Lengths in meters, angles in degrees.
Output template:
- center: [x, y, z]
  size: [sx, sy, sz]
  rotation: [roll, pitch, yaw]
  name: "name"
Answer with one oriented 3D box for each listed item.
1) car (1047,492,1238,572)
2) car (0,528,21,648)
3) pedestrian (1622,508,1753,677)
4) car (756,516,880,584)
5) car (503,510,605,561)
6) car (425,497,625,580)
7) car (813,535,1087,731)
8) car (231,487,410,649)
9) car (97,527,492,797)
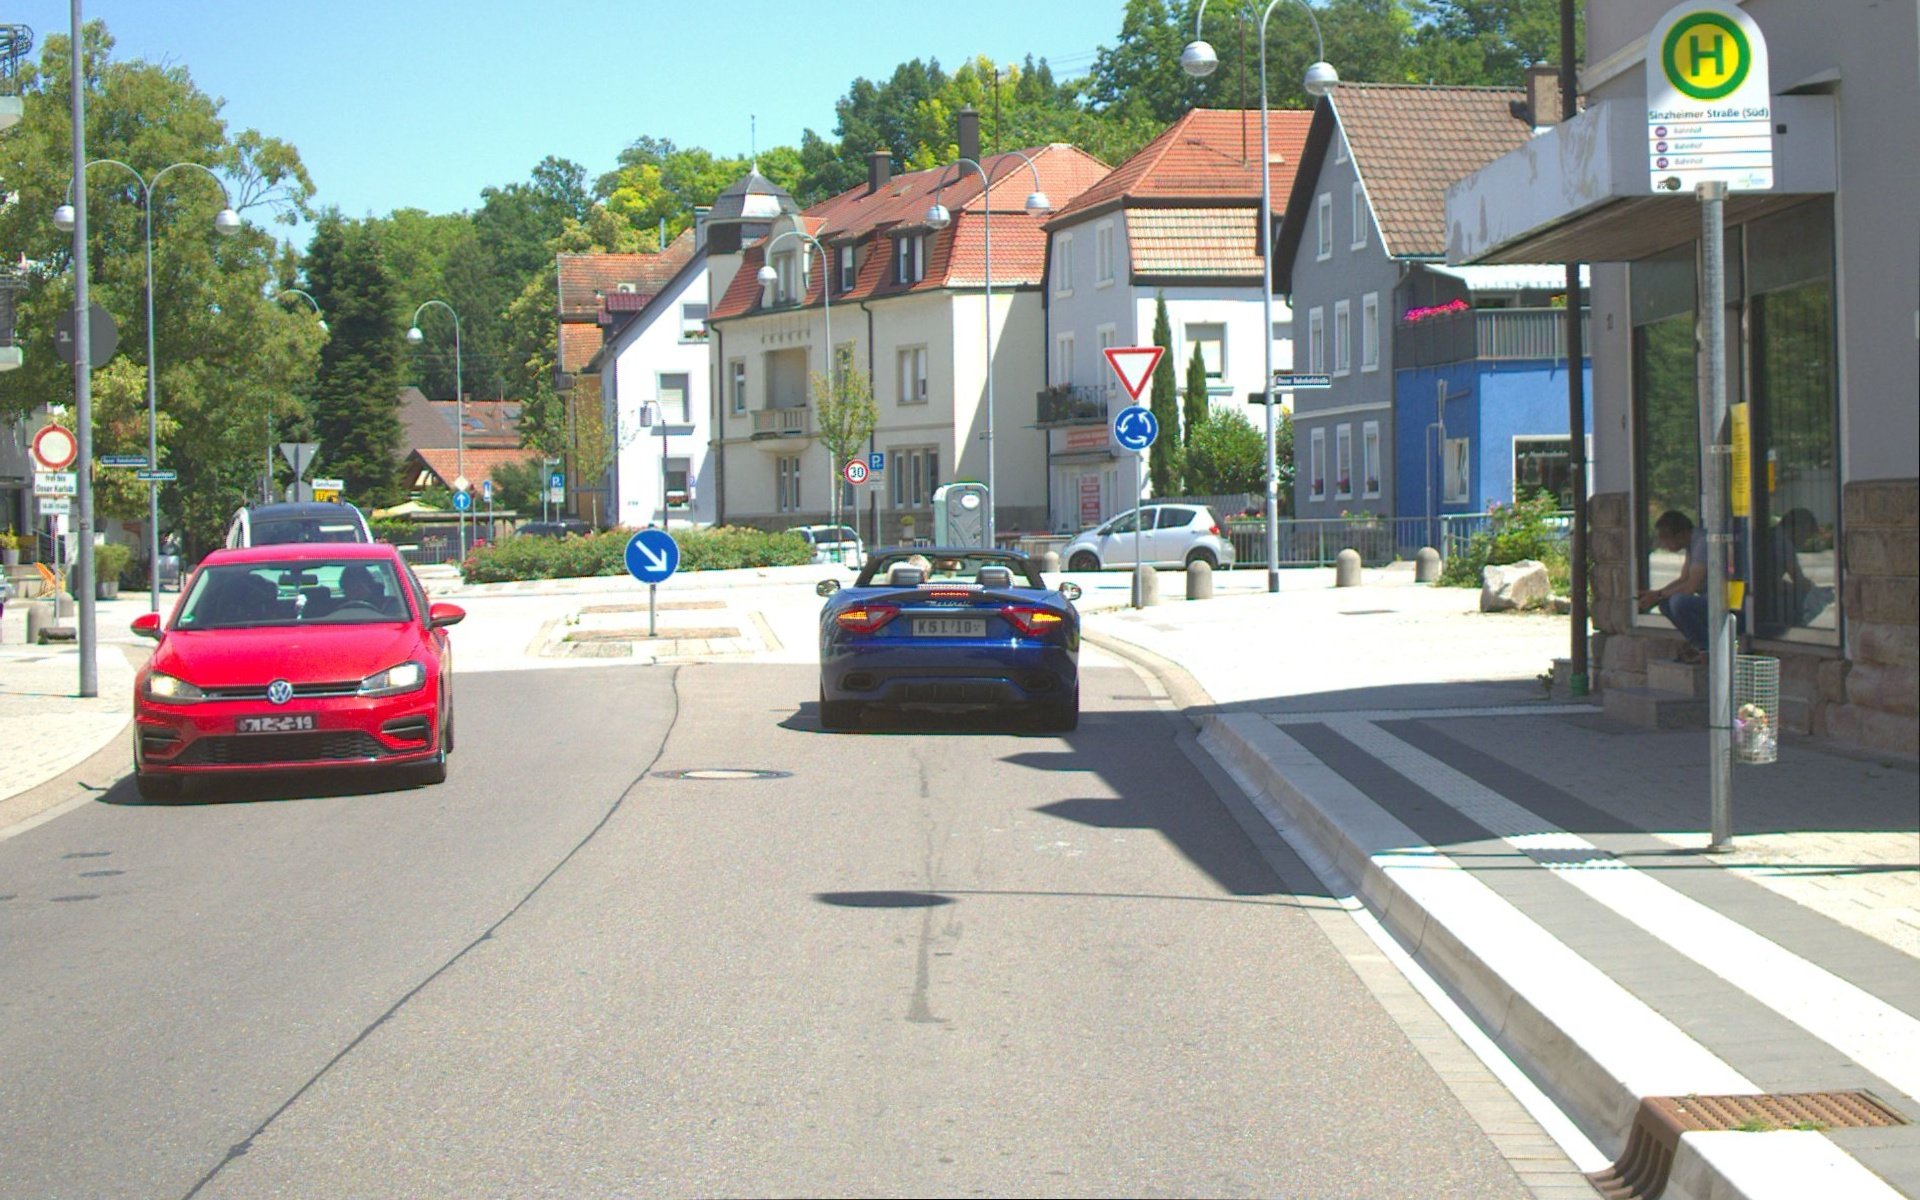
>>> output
- center: [3.597, -1.344, 67.581]
  size: [3.461, 1.445, 1.579]
  rotation: [-2, 1, 15]
  name: "car"
- center: [-17.157, -0.174, 54.103]
  size: [4.219, 1.868, 1.762]
  rotation: [0, 2, 12]
  name: "car"
- center: [4.469, -0.055, 21.152]
  size: [0.590, 0.996, 0.724]
  rotation: [-2, 1, -2]
  name: "pedestrian"
- center: [-3.677, -1.275, 88.346]
  size: [1.918, 1.607, 4.149]
  rotation: [-2, 0, -21]
  name: "car"
- center: [-13.658, -2.156, 115.544]
  size: [1.850, 1.582, 4.000]
  rotation: [-3, 2, -31]
  name: "car"
- center: [-7.541, -1.044, 59.253]
  size: [1.993, 1.325, 4.201]
  rotation: [-3, 2, -28]
  name: "car"
- center: [-0.069, 0.190, 26.110]
  size: [1.910, 1.356, 4.286]
  rotation: [0, 1, 0]
  name: "car"
- center: [-7.918, -0.426, 42.588]
  size: [1.993, 1.815, 4.417]
  rotation: [-3, 2, -10]
  name: "car"
- center: [-4.017, 0.306, 21.370]
  size: [1.915, 1.422, 3.981]
  rotation: [-3, 1, -5]
  name: "car"
